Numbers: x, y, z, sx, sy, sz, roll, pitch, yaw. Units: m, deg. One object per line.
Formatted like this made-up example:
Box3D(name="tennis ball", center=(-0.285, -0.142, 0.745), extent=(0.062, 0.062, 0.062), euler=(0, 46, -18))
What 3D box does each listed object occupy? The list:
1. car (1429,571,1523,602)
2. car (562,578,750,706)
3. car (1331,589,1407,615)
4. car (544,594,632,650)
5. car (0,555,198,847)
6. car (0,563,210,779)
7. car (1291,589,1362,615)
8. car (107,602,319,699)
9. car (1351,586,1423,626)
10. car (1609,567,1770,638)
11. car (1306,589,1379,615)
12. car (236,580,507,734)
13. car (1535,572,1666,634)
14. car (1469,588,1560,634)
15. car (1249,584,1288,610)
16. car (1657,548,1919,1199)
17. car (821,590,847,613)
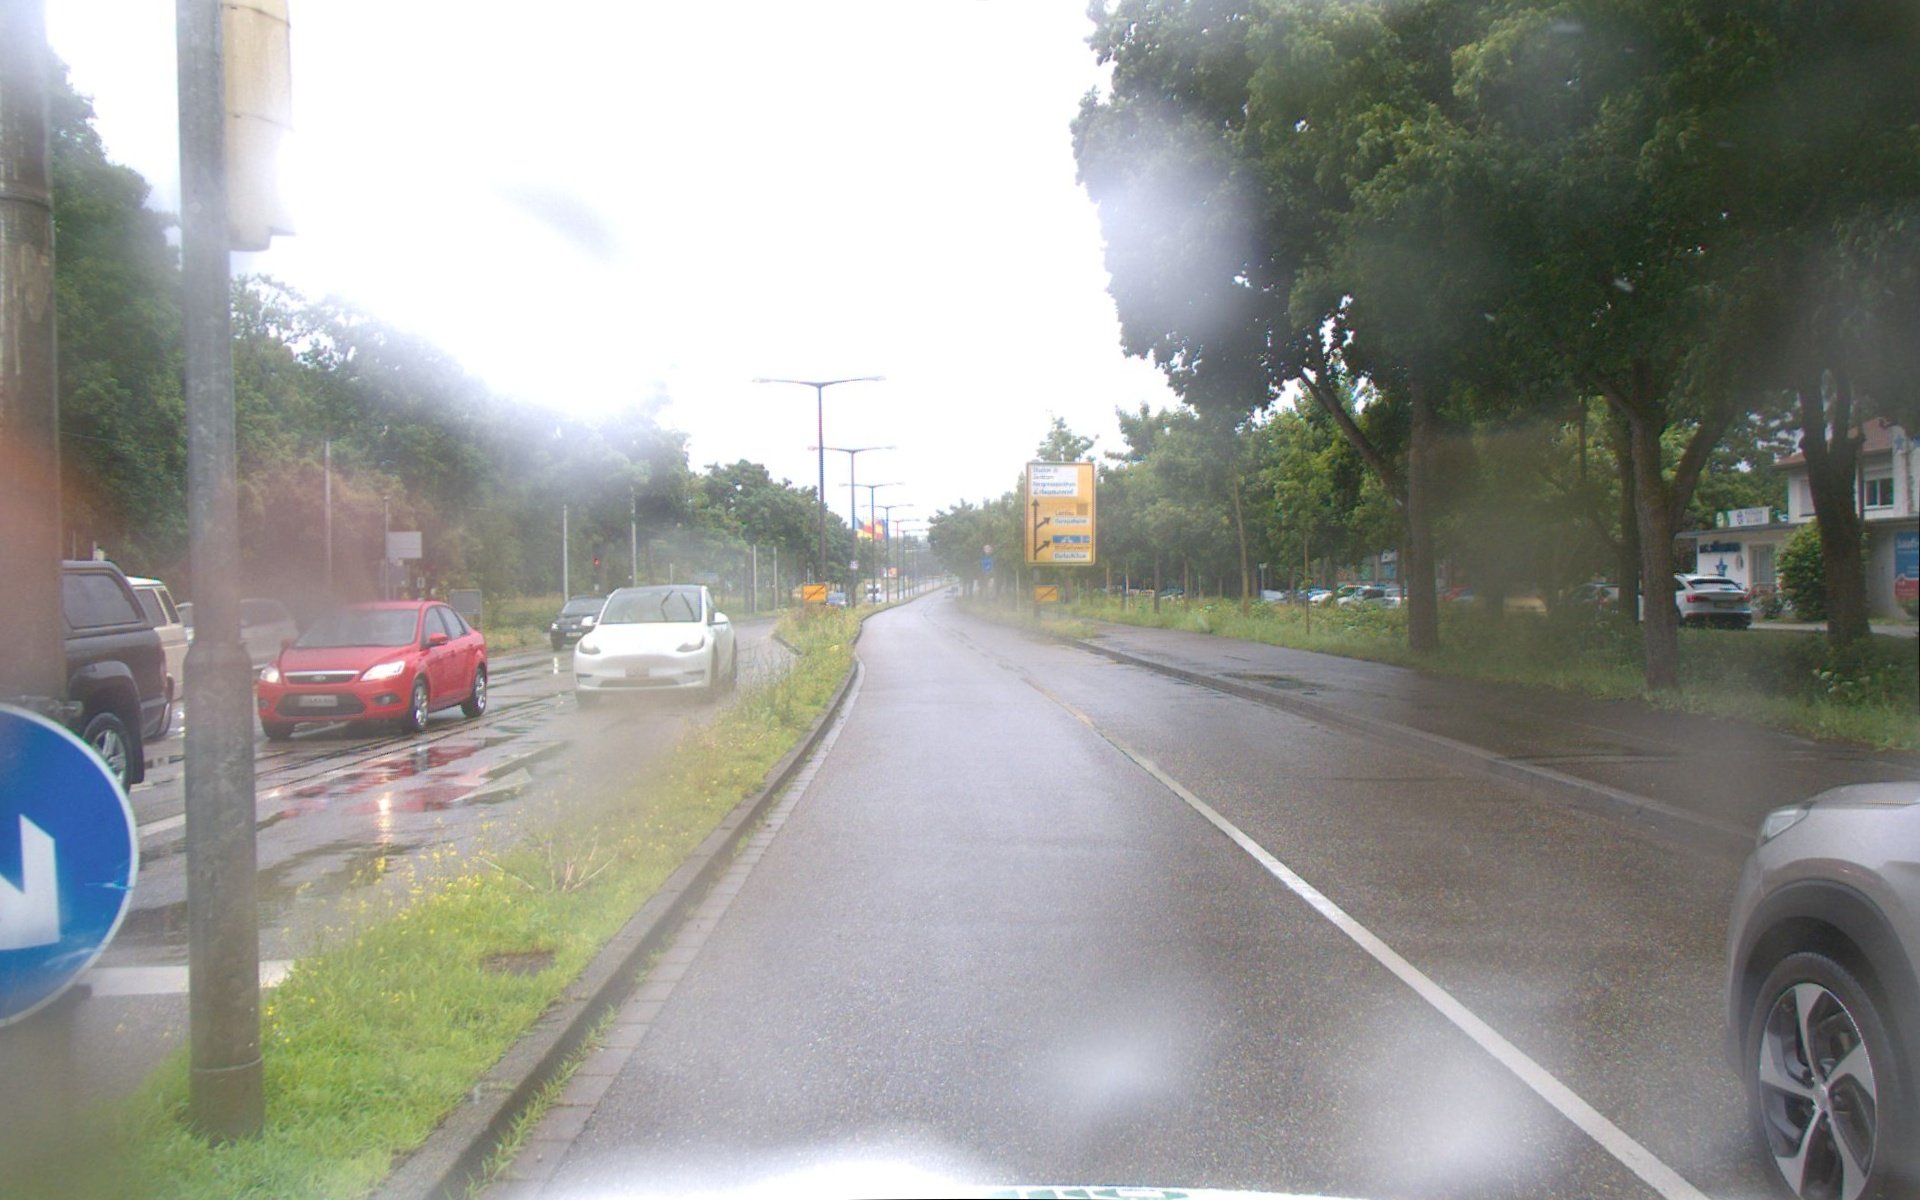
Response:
Box3D(name="car", center=(26.675, -0.699, 85.535), extent=(4.249, 1.510, 1.943), euler=(1, 0, -5))
Box3D(name="car", center=(-4.286, 0.533, 24.042), extent=(1.921, 1.645, 4.696), euler=(-1, 0, -1))
Box3D(name="car", center=(26.577, 0.113, 107.627), extent=(4.474, 1.585, 1.946), euler=(1, 0, 2))
Box3D(name="car", center=(-11.859, 0.667, 53.024), extent=(1.671, 1.670, 4.332), euler=(-2, 0, 2))
Box3D(name="car", center=(-6.841, 0.653, 10.393), extent=(1.769, 1.804, 5.088), euler=(-2, 0, -1))
Box3D(name="car", center=(-10.118, 0.675, 17.852), extent=(1.890, 2.053, 4.742), euler=(-1, 0, -1))
Box3D(name="car", center=(25.739, 0.149, 116.249), extent=(4.482, 1.673, 1.997), euler=(1, 0, -7))
Box3D(name="car", center=(-15.498, 0.996, 34.660), extent=(1.951, 1.859, 4.774), euler=(1, 0, 4))
Box3D(name="car", center=(19.149, 0.269, 74.309), extent=(1.953, 1.654, 4.641), euler=(-1, 0, -1))
Box3D(name="car", center=(19.407, 0.067, 44.259), extent=(1.954, 1.747, 4.876), euler=(-1, 0, -3))
Box3D(name="car", center=(26.224, 0.141, 113.365), extent=(4.480, 1.735, 1.998), euler=(1, 0, -5))
Box3D(name="car", center=(-6.984, 0.641, 20.130), extent=(1.765, 1.597, 4.427), euler=(-2, -1, -2))
Box3D(name="car", center=(19.270, 0.097, 49.994), extent=(1.954, 1.747, 4.639), euler=(-1, 0, -3))
Box3D(name="car", center=(19.191, 0.367, 57.422), extent=(1.604, 1.512, 4.070), euler=(1, 0, -3))
Box3D(name="car", center=(19.067, -0.213, 102.279), extent=(1.708, 1.470, 4.123), euler=(-1, 2, 2))
Box3D(name="car", center=(3.037, 0.720, 2.821), extent=(1.846, 1.638, 4.194), euler=(0, 0, -2))
Box3D(name="car", center=(-9.606, 0.117, 126.468), extent=(1.708, 1.679, 4.135), euler=(-3, 0, -2))
